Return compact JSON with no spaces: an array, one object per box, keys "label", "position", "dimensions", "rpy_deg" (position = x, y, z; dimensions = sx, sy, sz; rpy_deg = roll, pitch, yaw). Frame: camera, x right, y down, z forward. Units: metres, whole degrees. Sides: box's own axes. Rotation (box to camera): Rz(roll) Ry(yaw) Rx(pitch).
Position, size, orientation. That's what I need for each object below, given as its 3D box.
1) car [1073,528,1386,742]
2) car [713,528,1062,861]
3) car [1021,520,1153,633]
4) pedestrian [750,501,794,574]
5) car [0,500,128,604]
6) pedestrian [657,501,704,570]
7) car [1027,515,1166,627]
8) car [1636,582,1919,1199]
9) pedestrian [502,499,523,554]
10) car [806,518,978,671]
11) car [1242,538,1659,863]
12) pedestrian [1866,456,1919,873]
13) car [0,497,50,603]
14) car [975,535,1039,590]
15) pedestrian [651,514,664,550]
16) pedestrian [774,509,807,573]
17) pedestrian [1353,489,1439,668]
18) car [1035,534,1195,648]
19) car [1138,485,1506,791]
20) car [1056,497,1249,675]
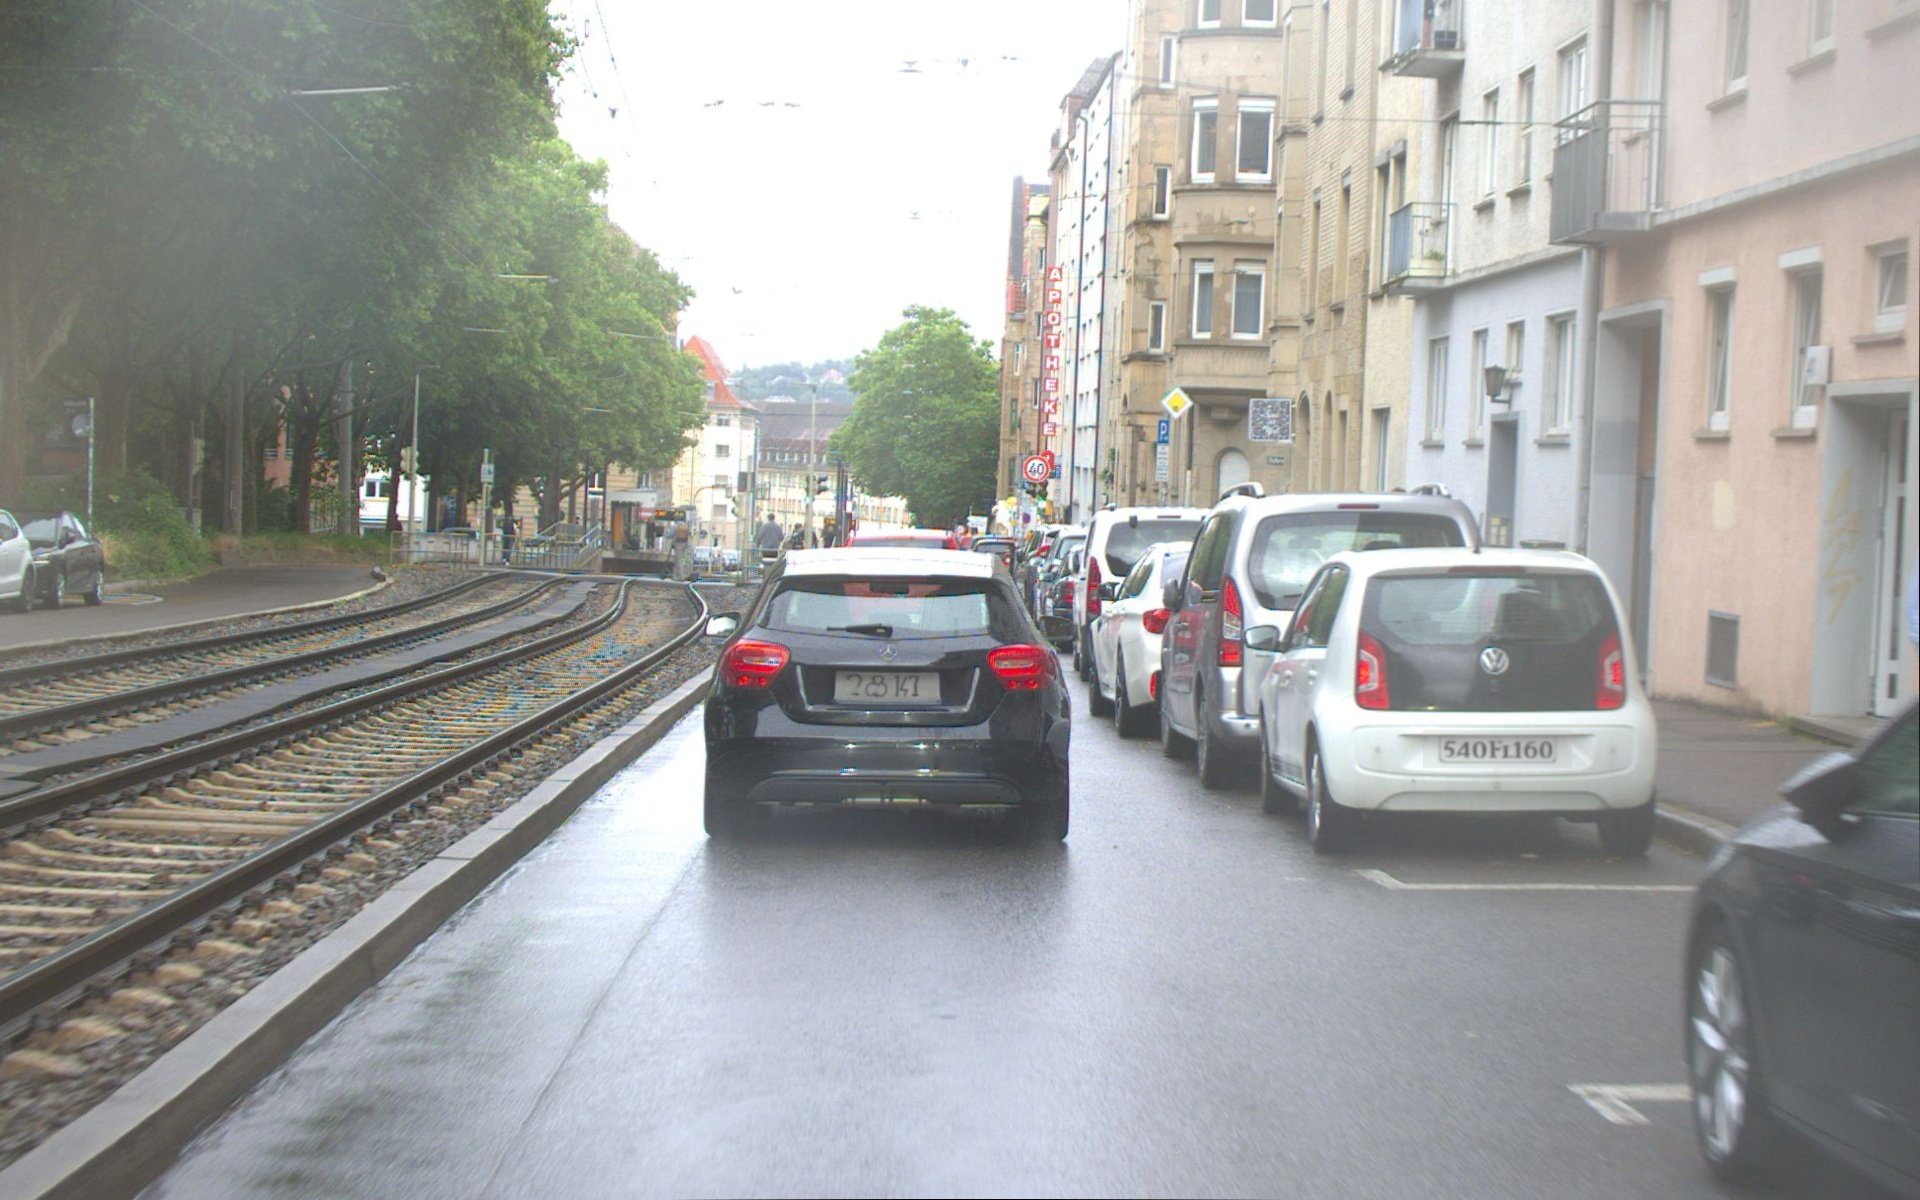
[{"label":"car","position":[1.996,0.201,26.903],"dimensions":[1.871,1.450,4.903],"rpy_deg":[1,2,-2]},{"label":"car","position":[-0.374,0.399,17.653],"dimensions":[1.580,1.499,3.575],"rpy_deg":[1,1,-1]},{"label":"car","position":[1.806,-0.368,49.892],"dimensions":[1.693,1.524,4.000],"rpy_deg":[2,1,0]},{"label":"pedestrian","position":[-5.117,-1.709,93.573],"dimensions":[1.137,1.991,1.173],"rpy_deg":[0,1,-5]},{"label":"car","position":[-13.353,-0.730,50.039],"dimensions":[1.614,1.424,3.853],"rpy_deg":[1,2,-1]},{"label":"pedestrian","position":[-7.133,-1.659,87.664],"dimensions":[1.054,1.713,0.904],"rpy_deg":[2,1,1]},{"label":"car","position":[2.156,-0.499,55.378],"dimensions":[1.766,1.662,4.333],"rpy_deg":[2,1,-3]},{"label":"car","position":[2.632,0.719,6.501],"dimensions":[1.669,1.405,4.312],"rpy_deg":[1,1,-2]},{"label":"pedestrian","position":[-14.490,-2.363,111.288],"dimensions":[0.534,1.748,0.607],"rpy_deg":[3,1,0]},{"label":"car","position":[-0.743,-0.106,38.248],"dimensions":[1.785,1.575,4.000],"rpy_deg":[1,1,-1]},{"label":"car","position":[2.398,0.431,17.586],"dimensions":[1.570,1.457,3.600],"rpy_deg":[1,1,0]},{"label":"pedestrian","position":[4.315,0.262,14.847],"dimensions":[0.607,1.757,0.688],"rpy_deg":[0,1,-2]},{"label":"car","position":[-13.293,-0.658,45.306],"dimensions":[1.500,1.386,3.987],"rpy_deg":[-1,1,0]},{"label":"car","position":[1.411,-1.151,104.046],"dimensions":[1.827,1.612,3.864],"rpy_deg":[0,2,-1]},{"label":"pedestrian","position":[-14.773,-3.325,167.982],"dimensions":[0.518,1.711,0.551],"rpy_deg":[3,1,-1]},{"label":"pedestrian","position":[-4.367,-1.522,88.578],"dimensions":[0.806,1.628,0.892],"rpy_deg":[0,1,0]},{"label":"pedestrian","position":[4.554,-0.235,35.969],"dimensions":[0.746,1.827,1.039],"rpy_deg":[-1,1,1]},{"label":"car","position":[1.967,-0.153,44.746],"dimensions":[1.717,1.342,4.462],"rpy_deg":[2,1,-1]},{"label":"car","position":[2.199,0.170,21.966],"dimensions":[1.790,1.759,4.212],"rpy_deg":[0,1,-1]},{"label":"car","position":[1.986,-0.196,36.630],"dimensions":[1.828,1.744,4.467],"rpy_deg":[1,1,1]}]
